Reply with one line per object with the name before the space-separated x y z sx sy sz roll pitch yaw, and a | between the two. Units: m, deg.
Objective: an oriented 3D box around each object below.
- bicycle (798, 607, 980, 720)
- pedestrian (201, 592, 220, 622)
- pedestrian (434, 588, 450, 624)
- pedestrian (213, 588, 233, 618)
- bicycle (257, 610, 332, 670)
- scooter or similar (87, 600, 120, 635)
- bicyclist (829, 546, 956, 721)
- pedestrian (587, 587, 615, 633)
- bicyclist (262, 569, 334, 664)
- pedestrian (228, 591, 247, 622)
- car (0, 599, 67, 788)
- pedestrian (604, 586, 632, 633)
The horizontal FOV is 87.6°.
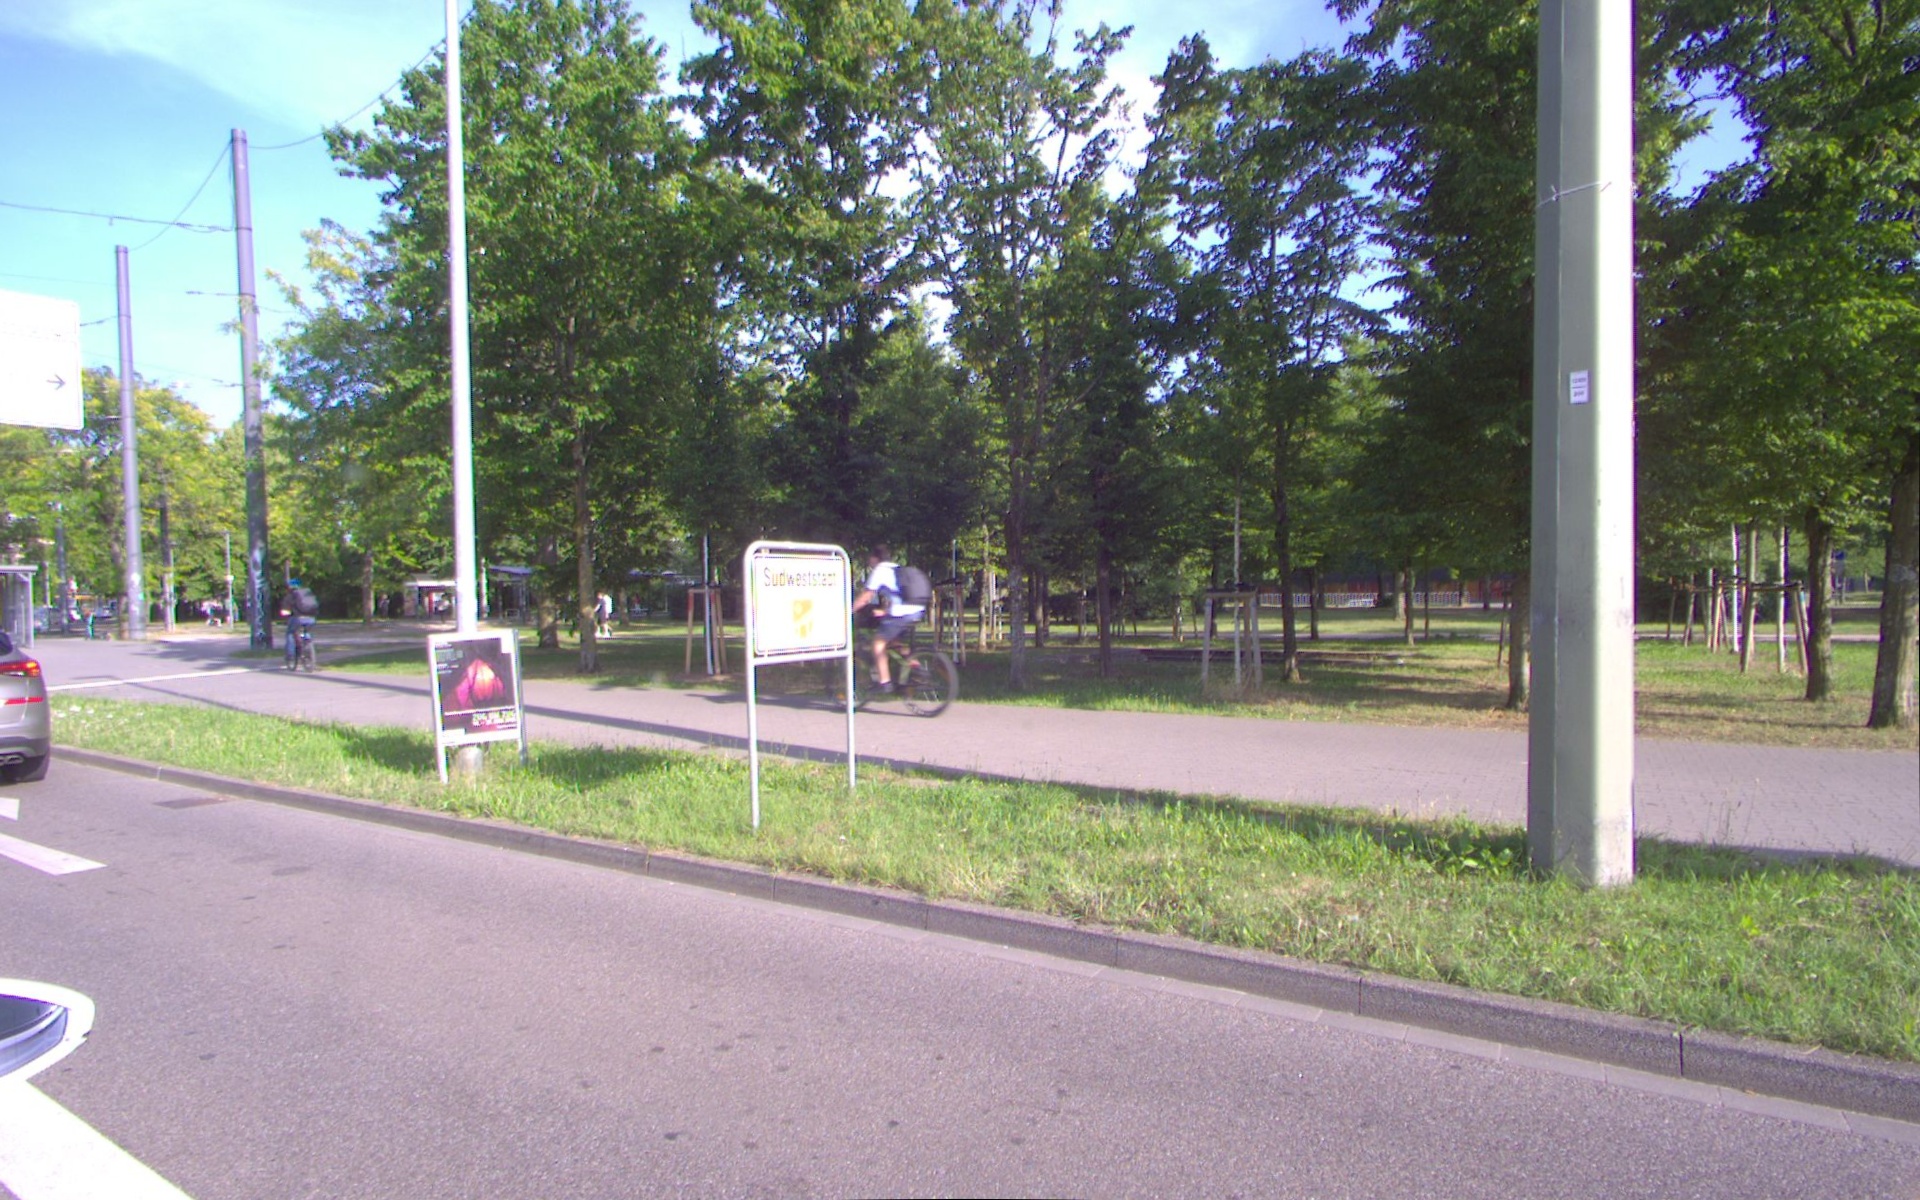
bicycle | -0.787 0.650 10.799 1.912 1.103 0.639 -1 3 32
pedestrian | -41.762 0.377 55.780 0.681 1.632 0.639 0 1 32
pedestrian | -27.581 0.312 53.354 0.594 1.891 0.462 0 -1 13
pedestrian | -40.911 0.173 55.565 0.681 1.688 0.639 0 1 32
bicycle | -13.191 0.778 19.842 1.711 1.103 0.638 0 3 36
scooter or similar | -31.433 0.638 36.741 1.115 1.248 0.351 0 1 18
bicyclist | -0.719 0.335 10.731 1.123 1.770 0.647 -1 4 31
pedestrian | -14.258 0.407 39.784 0.867 1.800 0.670 0 -1 33
bicyclist | -12.970 0.313 19.630 1.125 1.770 0.717 0 4 36
pedestrian | -39.798 0.354 55.163 0.681 1.688 0.639 0 1 32
car | -10.063 0.809 9.192 3.760 1.621 1.832 -1 -1 32
pedestrian | -13.967 0.398 40.859 0.868 1.922 0.670 0 -1 33
